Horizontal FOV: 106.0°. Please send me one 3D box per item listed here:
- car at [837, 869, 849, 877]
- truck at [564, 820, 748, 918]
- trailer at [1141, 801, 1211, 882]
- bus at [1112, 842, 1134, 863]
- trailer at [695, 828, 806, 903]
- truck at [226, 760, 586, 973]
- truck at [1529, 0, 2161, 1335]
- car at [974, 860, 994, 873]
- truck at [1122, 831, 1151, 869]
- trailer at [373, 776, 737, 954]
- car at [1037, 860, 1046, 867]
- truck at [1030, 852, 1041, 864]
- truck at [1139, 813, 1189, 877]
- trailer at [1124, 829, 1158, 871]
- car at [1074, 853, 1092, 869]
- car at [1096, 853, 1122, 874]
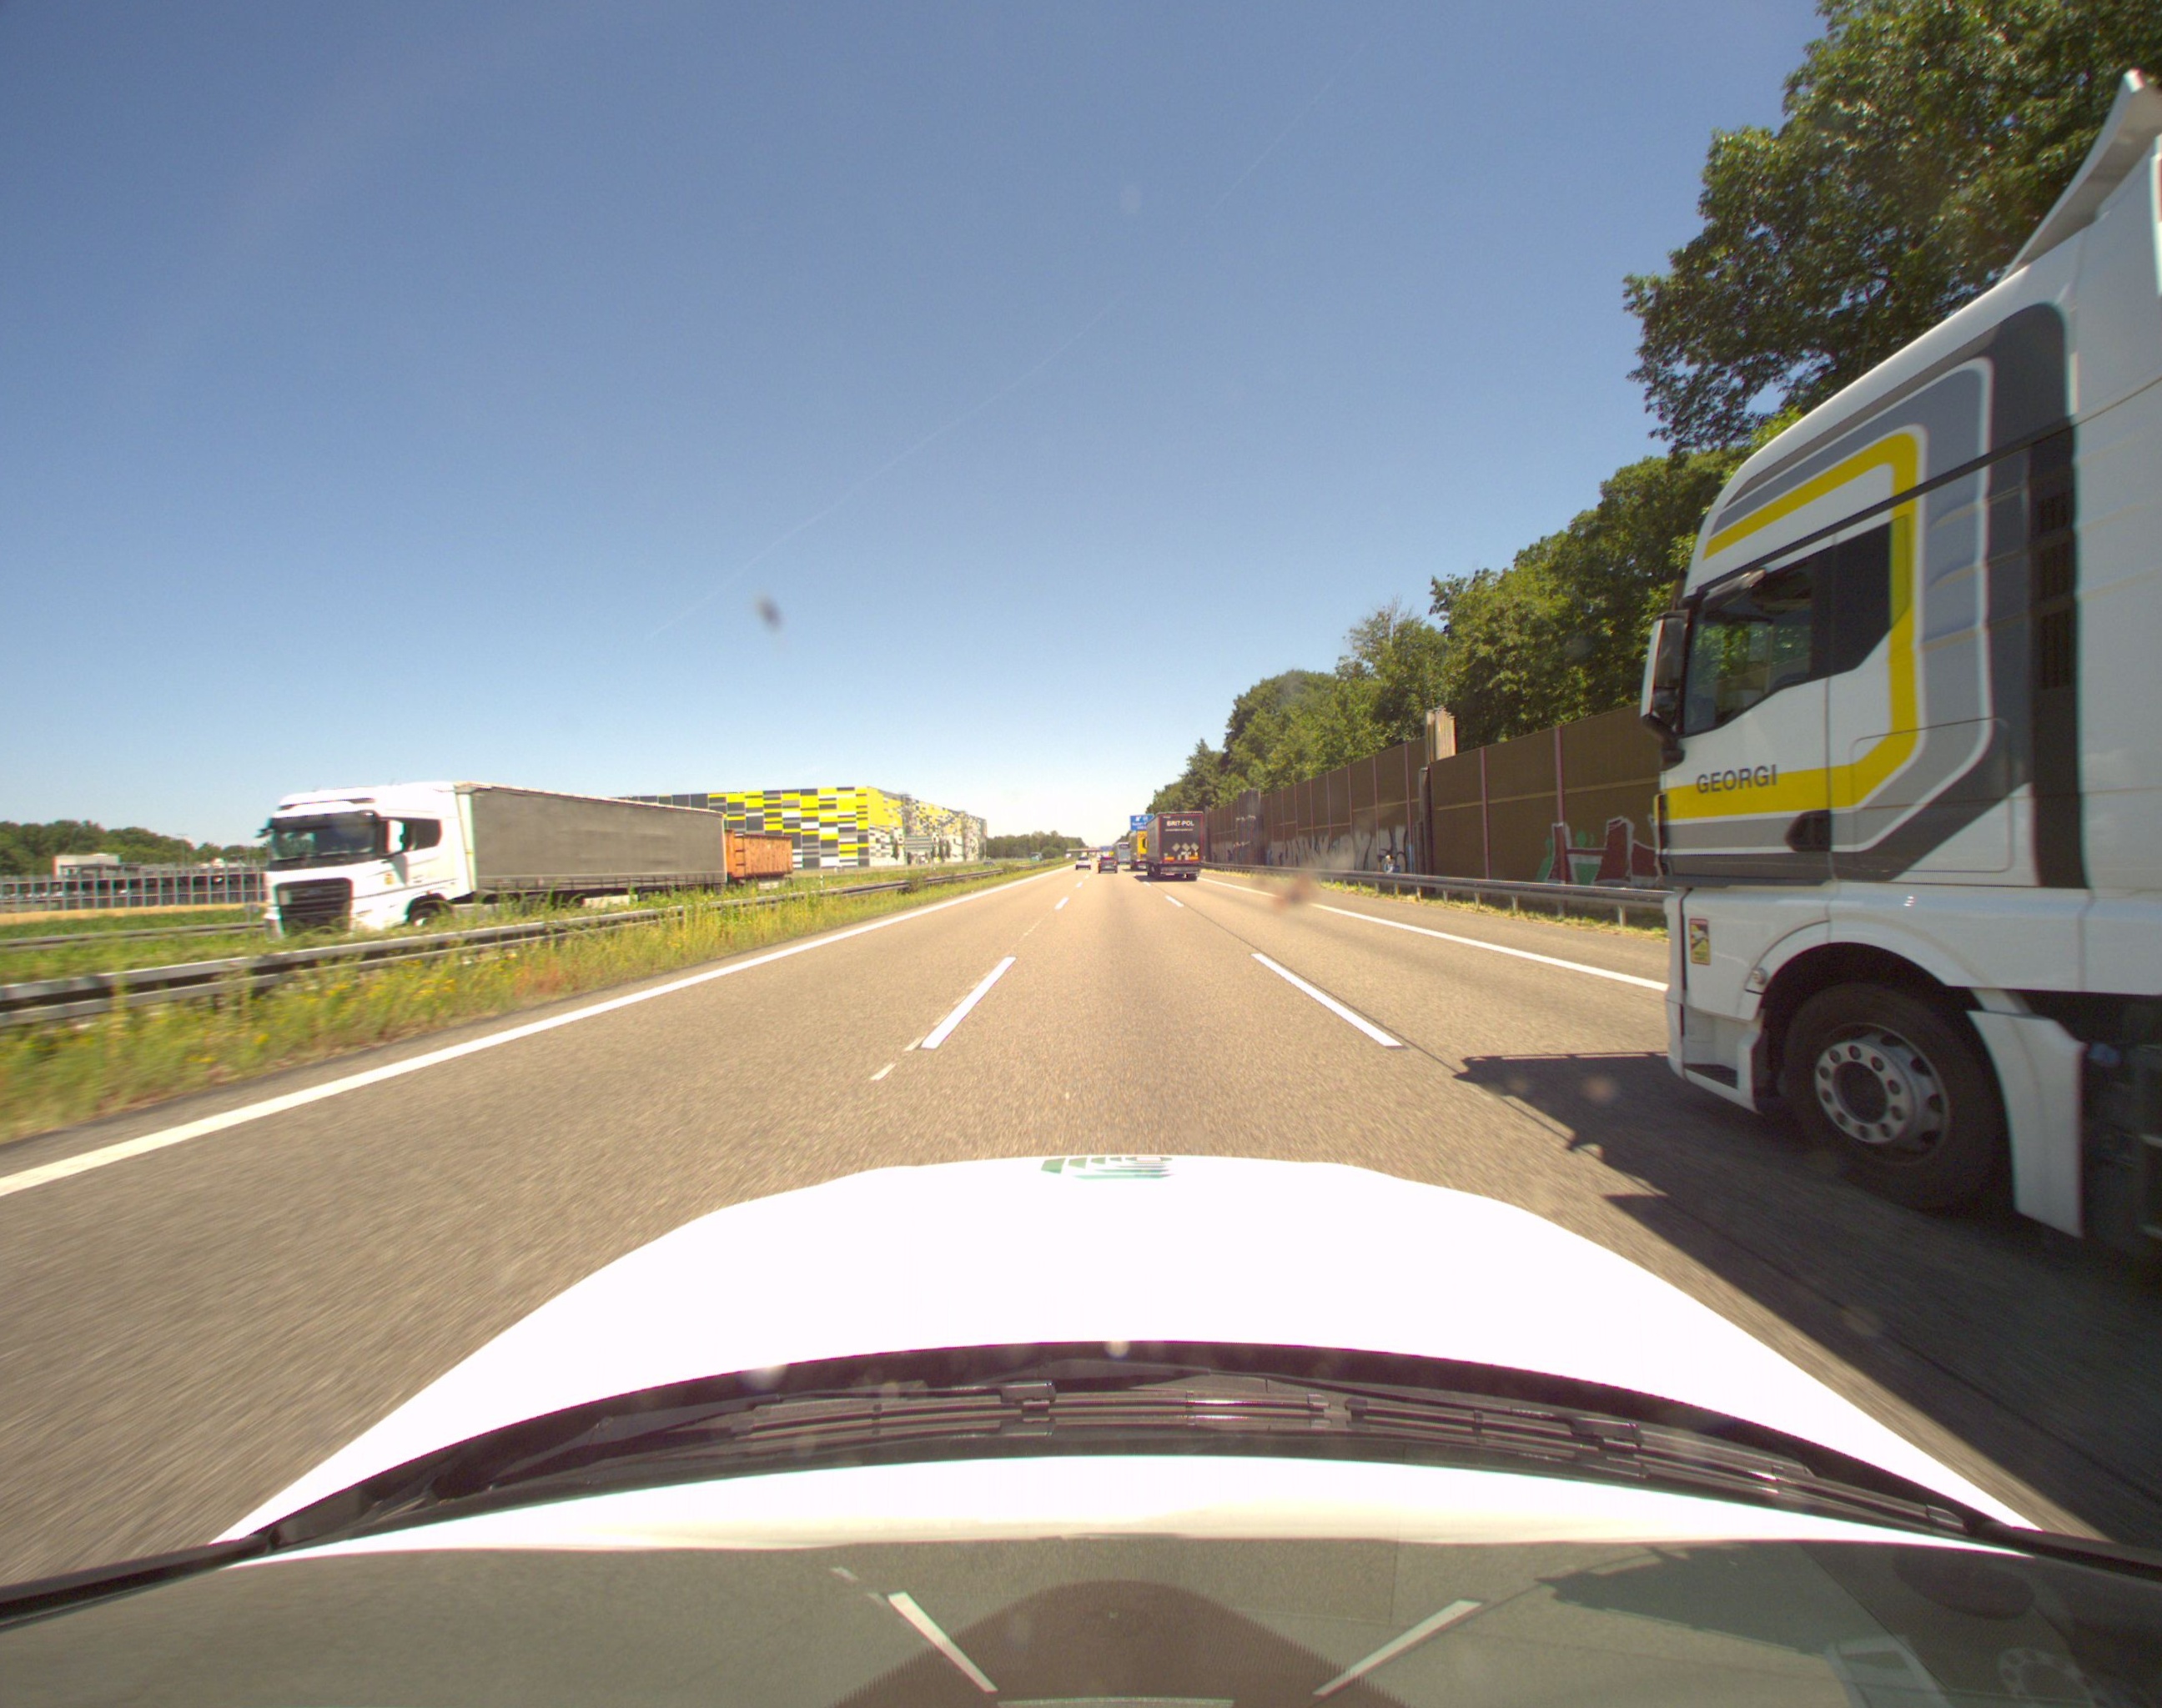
[{"bbox_3d":[-59.662,4.751,203.970,1.679,1.727,4.112,-3,0,0],"label":"car"},{"bbox_3d":[-19.883,0.634,39.238,2.639,3.884,10.830,-5,0,2],"label":"truck"},{"bbox_3d":[5.909,-0.659,53.520,3.095,4.507,14.897,-1,0,1],"label":"trailer"},{"bbox_3d":[7.018,-0.174,137.057,3.052,3.326,8.273,-3,0,0],"label":"bus"},{"bbox_3d":[-19.605,0.668,49.026,2.649,3.919,8.664,-4,0,2],"label":"trailer"},{"bbox_3d":[-16.577,0.293,20.926,3.149,4.426,6.983,-3,-1,1],"label":"truck"},{"bbox_3d":[4.664,-0.670,3.140,2.992,4.125,5.254,-1,-1,1],"label":"truck"},{"bbox_3d":[-13.697,1.772,115.211,1.986,1.680,5.554,-3,-1,2],"label":"car"},{"bbox_3d":[6.159,-0.454,91.340,2.803,4.006,6.646,-2,0,1],"label":"truck"},{"bbox_3d":[-16.373,0.340,27.633,3.184,4.422,13.330,-3,-1,2],"label":"trailer"},{"bbox_3d":[-10.506,2.439,217.291,1.986,1.639,5.665,-3,0,2],"label":"car"},{"bbox_3d":[-13.413,1.224,241.744,2.688,3.250,5.840,-2,-1,2],"label":"truck"},{"bbox_3d":[6.081,-0.600,60.774,3.077,4.441,6.053,-1,-1,1],"label":"truck"},{"bbox_3d":[6.006,-0.409,83.332,2.824,3.953,11.686,-1,0,1],"label":"trailer"},{"bbox_3d":[0.225,0.801,95.858,1.987,1.728,4.131,-1,0,1],"label":"car"},{"bbox_3d":[2.570,0.830,75.368,2.208,1.790,5.394,-2,0,1],"label":"car"}]
